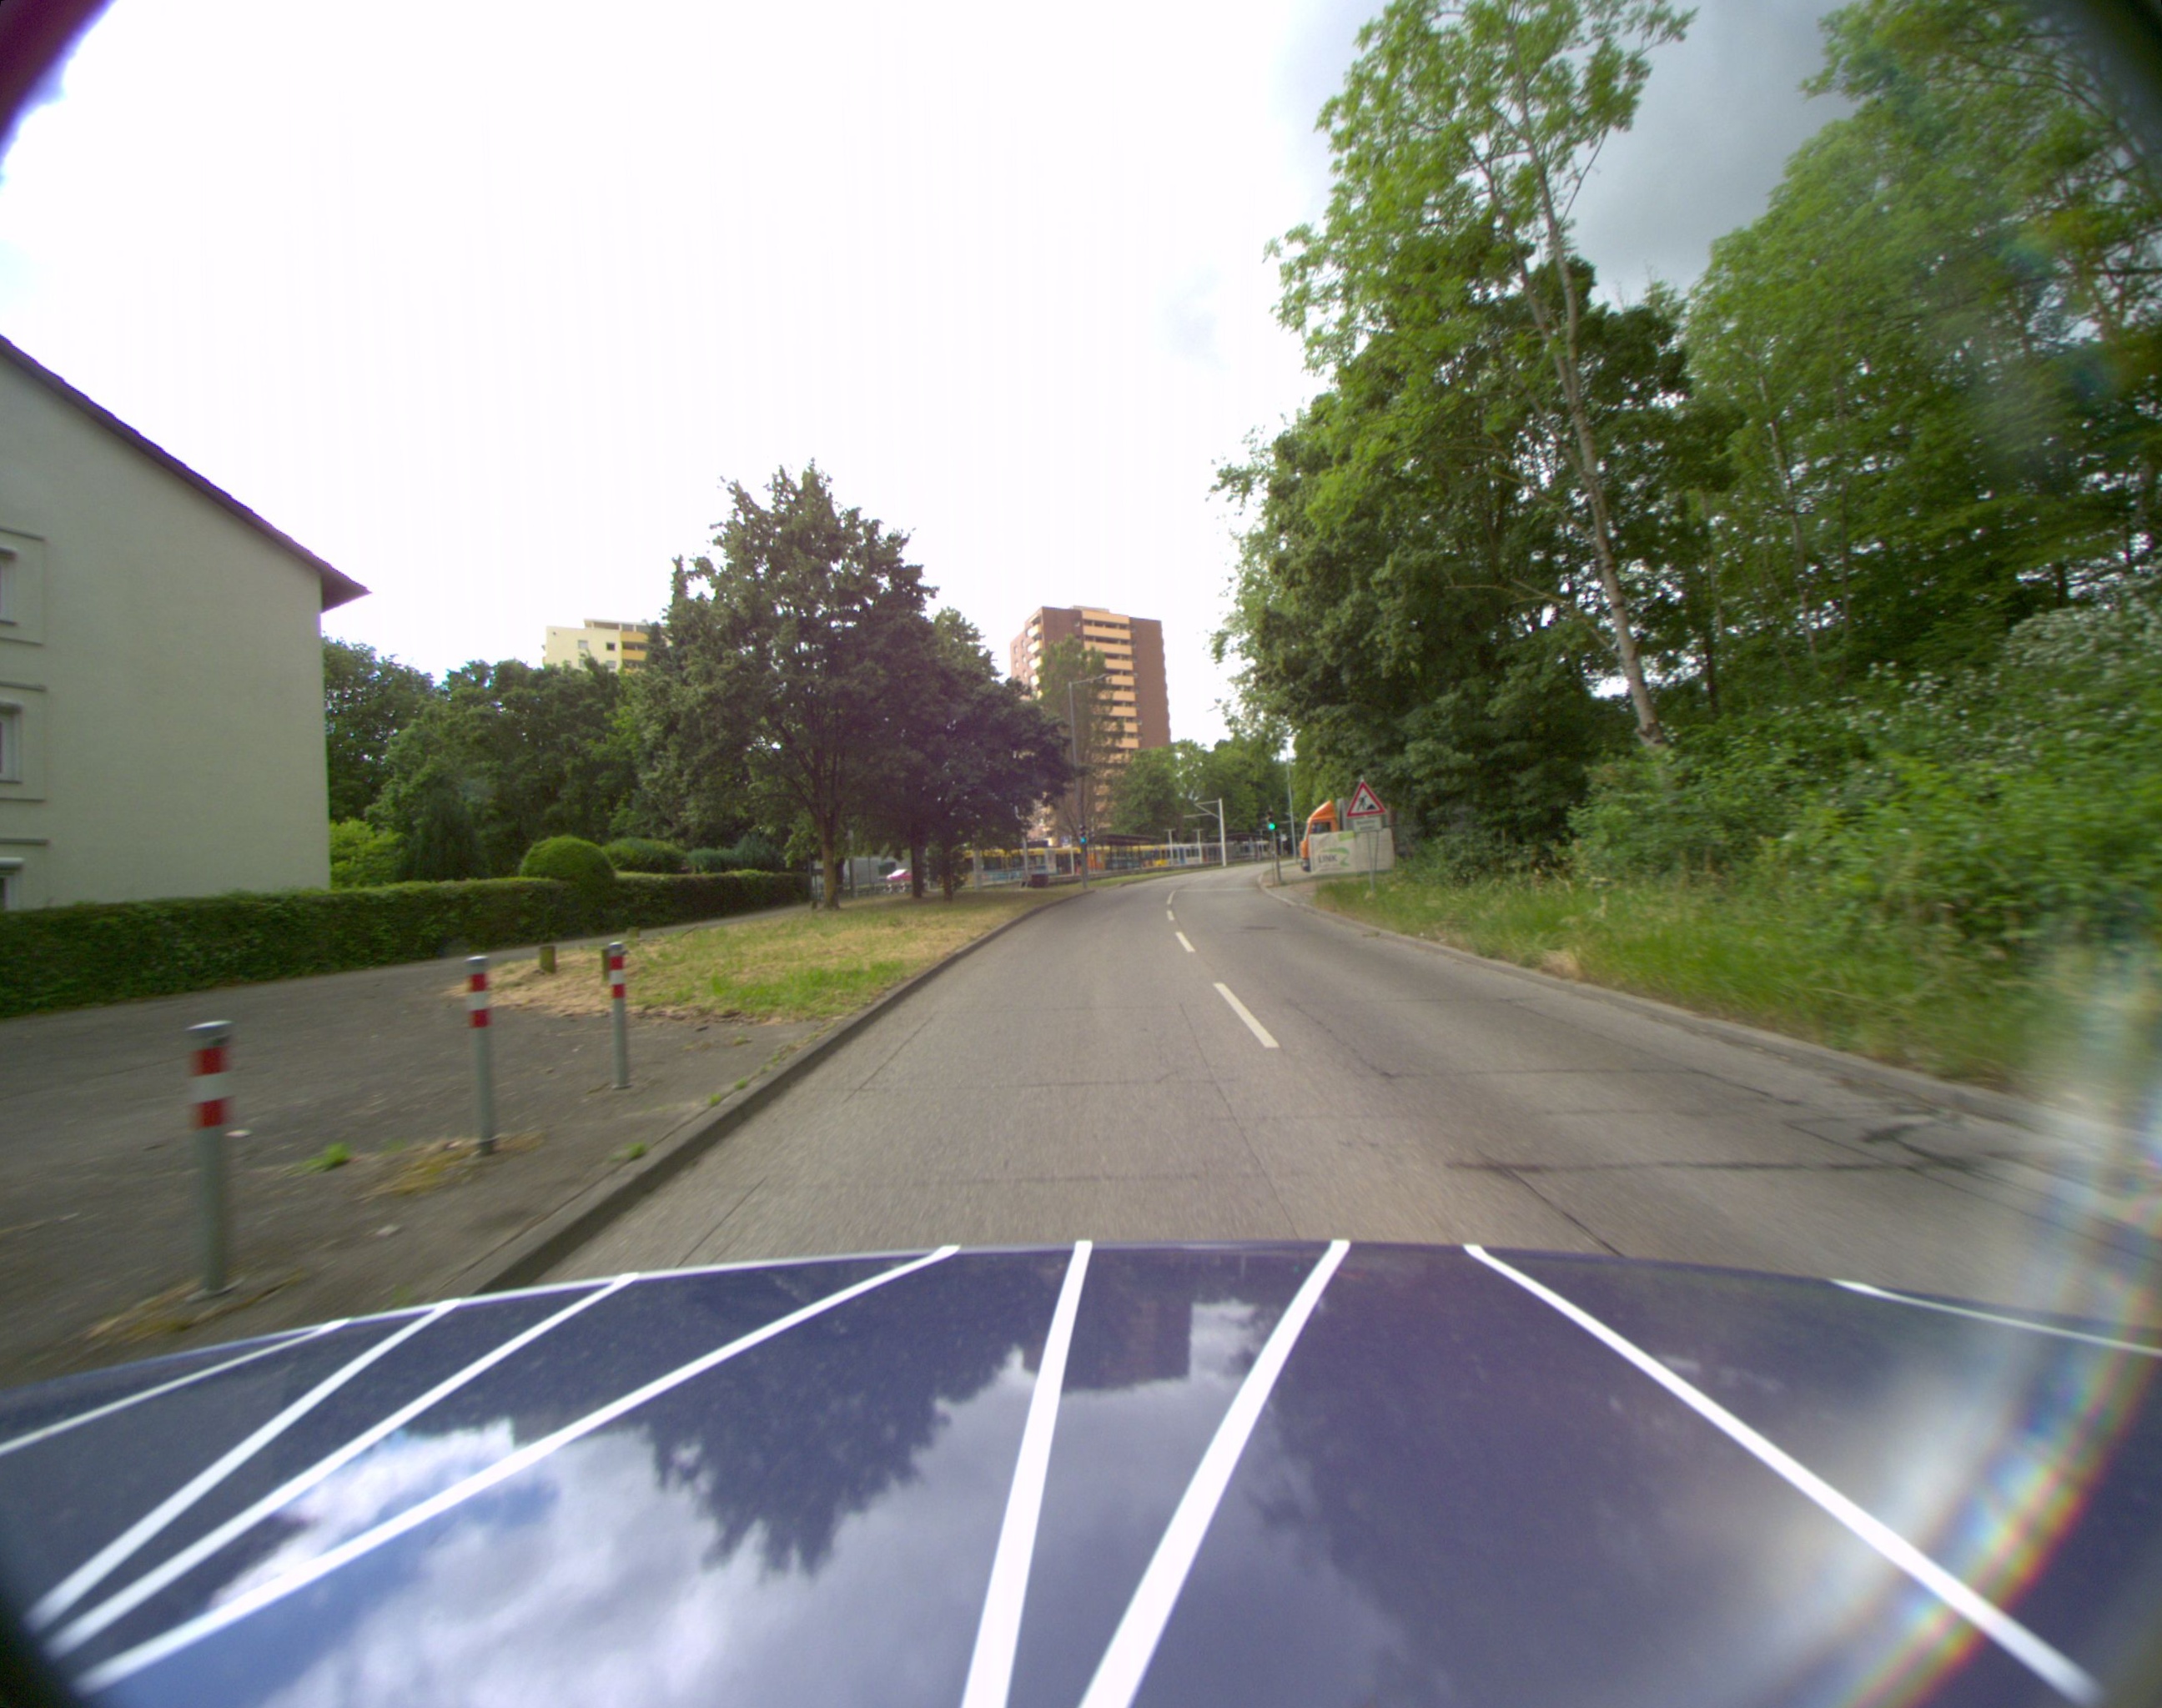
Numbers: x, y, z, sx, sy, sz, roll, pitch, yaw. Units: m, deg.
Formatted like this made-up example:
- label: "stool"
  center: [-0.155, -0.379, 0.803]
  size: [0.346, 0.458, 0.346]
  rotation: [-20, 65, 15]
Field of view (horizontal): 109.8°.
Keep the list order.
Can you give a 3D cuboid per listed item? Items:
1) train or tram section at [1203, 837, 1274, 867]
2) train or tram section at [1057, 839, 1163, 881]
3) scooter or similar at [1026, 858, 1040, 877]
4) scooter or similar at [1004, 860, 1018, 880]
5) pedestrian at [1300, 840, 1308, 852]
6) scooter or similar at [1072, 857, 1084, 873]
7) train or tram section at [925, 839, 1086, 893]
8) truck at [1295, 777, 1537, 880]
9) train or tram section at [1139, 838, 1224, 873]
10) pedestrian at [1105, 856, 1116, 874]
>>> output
- label: "train or tram section"
  center: [23.763, -0.402, 113.259]
  size: [2.816, 3.713, 18.566]
  rotation: [-7, -2, 35]
- label: "train or tram section"
  center: [3.623, 0.408, 80.647]
  size: [2.816, 3.713, 19.547]
  rotation: [-6, -2, 27]
- label: "scooter or similar"
  center: [-3.324, 0.917, 52.645]
  size: [0.430, 1.246, 1.256]
  rotation: [-4, 2, 19]
- label: "scooter or similar"
  center: [-4.723, 1.046, 51.272]
  size: [0.430, 1.246, 1.256]
  rotation: [-4, 2, 15]
- label: "pedestrian"
  center: [36.315, -1.310, 123.759]
  size: [0.985, 1.747, 0.731]
  rotation: [-6, -2, 25]
- label: "scooter or similar"
  center: [-0.242, 0.882, 62.869]
  size: [0.368, 1.234, 1.148]
  rotation: [-5, -1, 27]
- label: "train or tram section"
  center: [-5.428, 0.737, 63.166]
  size: [2.816, 3.566, 19.547]
  rotation: [-6, -2, 27]
- label: "truck"
  center: [14.405, -1.036, 33.510]
  size: [9.246, 3.510, 2.567]
  rotation: [-5, 0, 13]
- label: "train or tram section"
  center: [13.296, 0.025, 97.604]
  size: [2.816, 3.775, 18.967]
  rotation: [-7, -2, 32]
- label: "pedestrian"
  center: [2.687, 1.029, 68.799]
  size: [0.666, 1.563, 0.623]
  rotation: [-5, 0, -45]
